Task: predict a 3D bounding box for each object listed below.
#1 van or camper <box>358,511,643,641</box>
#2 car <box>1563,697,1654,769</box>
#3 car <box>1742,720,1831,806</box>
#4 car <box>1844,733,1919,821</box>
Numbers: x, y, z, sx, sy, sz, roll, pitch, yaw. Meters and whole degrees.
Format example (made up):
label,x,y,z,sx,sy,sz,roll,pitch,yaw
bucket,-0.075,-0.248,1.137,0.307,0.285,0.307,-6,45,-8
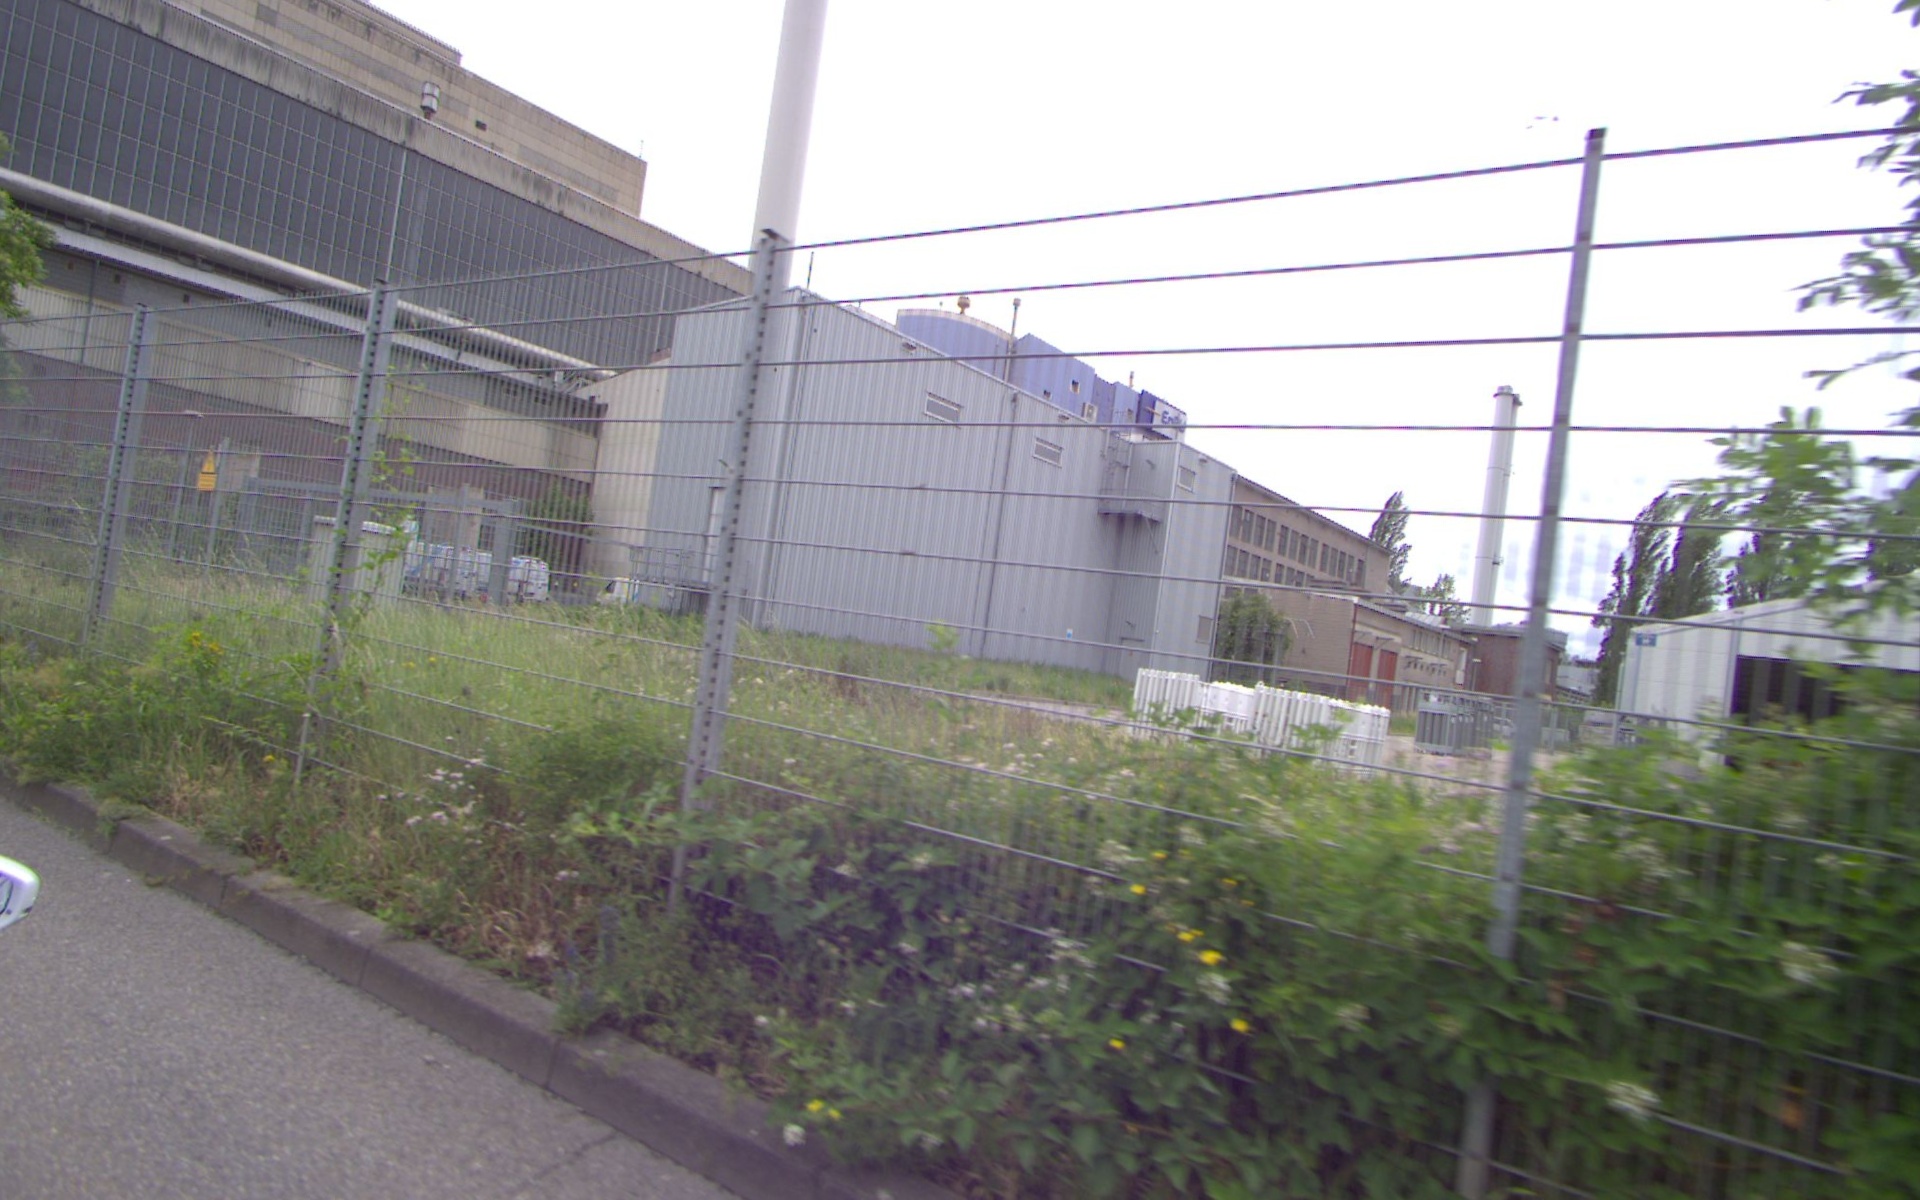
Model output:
label,x,y,z,sx,sy,sz,roll,pitch,yaw
van or camper,-21.705,-0.893,48.936,5.385,4.581,11.855,6,-3,22
car,28.825,5.935,44.642,2.383,2.677,5.328,7,-2,42
car,27.703,5.437,33.826,1.971,2.402,4.326,7,-2,39
car,29.957,5.640,32.183,2.079,2.402,4.419,7,-2,39
